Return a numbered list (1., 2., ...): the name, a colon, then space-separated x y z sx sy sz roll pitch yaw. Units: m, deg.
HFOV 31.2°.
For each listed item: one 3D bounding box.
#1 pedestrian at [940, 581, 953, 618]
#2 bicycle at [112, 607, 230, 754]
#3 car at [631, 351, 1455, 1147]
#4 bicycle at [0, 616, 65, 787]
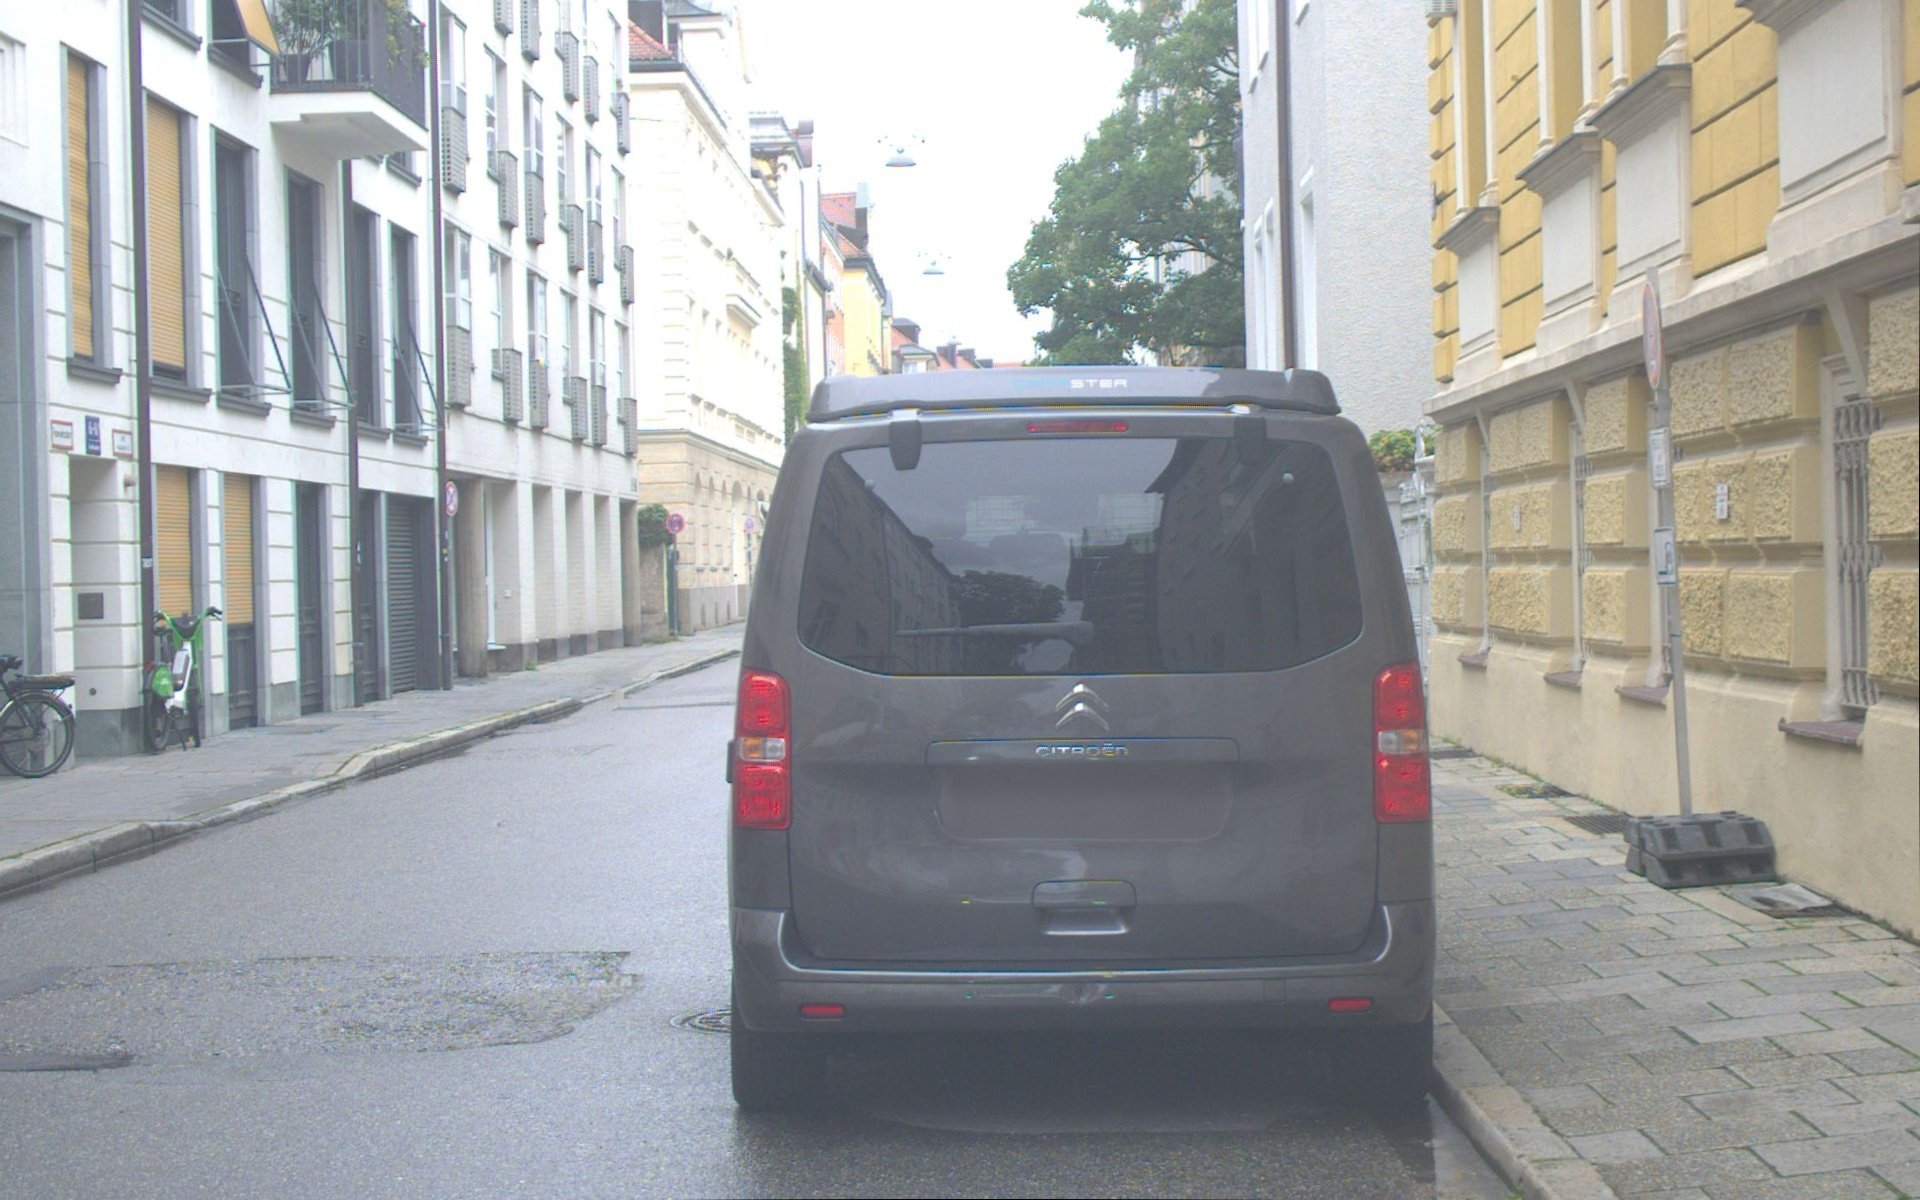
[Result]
1. pedestrian: -0.605 -0.029 156.442 0.539 1.648 0.376 -2 1 1
2. bicycle: -6.410 0.632 28.008 0.340 1.142 2.191 -2 0 2
3. car: 0.207 0.331 10.657 1.993 1.925 4.660 0 1 0
4. bicycle: -7.149 0.732 24.199 0.380 1.189 1.682 2 2 45
